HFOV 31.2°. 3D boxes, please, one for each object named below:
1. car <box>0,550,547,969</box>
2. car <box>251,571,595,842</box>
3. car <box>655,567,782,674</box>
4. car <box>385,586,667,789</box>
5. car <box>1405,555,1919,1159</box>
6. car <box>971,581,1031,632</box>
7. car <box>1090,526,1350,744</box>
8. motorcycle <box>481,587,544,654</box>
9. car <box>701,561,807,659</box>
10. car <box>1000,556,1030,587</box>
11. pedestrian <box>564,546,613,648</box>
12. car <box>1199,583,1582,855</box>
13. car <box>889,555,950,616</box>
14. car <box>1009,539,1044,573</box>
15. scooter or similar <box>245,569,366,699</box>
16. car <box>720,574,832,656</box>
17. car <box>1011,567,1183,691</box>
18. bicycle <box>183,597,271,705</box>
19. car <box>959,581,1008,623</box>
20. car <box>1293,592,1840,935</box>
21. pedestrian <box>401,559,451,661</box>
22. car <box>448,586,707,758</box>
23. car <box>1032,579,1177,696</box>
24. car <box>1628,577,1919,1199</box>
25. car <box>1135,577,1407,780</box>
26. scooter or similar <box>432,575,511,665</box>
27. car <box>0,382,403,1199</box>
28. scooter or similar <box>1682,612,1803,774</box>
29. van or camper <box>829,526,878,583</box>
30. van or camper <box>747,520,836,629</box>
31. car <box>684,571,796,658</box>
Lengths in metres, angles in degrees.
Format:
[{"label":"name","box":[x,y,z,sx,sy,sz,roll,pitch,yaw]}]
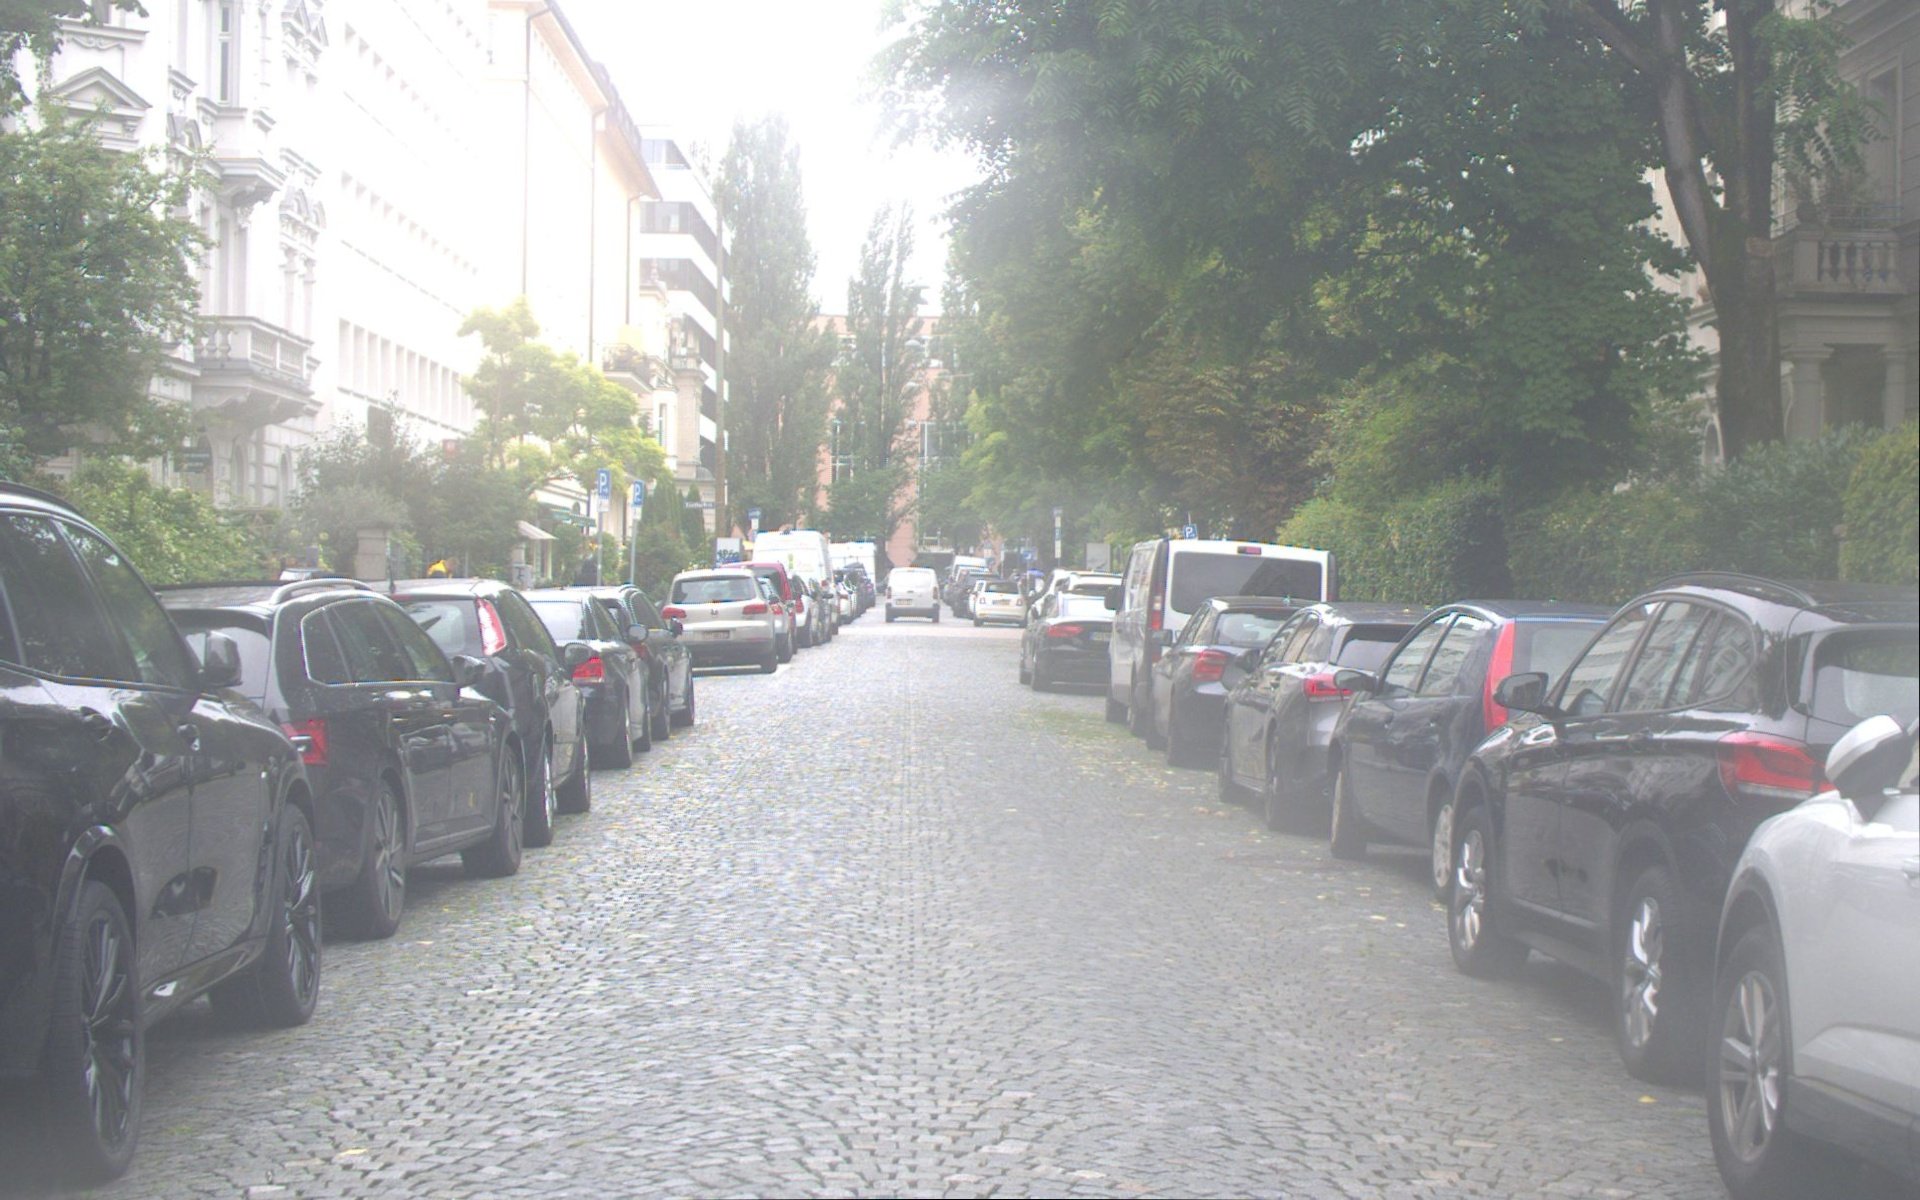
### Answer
[{"label":"car","box":[-3.168,0.586,15.442,1.978,1.556,5.017,-1,0,0]},{"label":"car","box":[-3.093,0.557,20.489,1.662,1.439,4.172,0,0,-4]},{"label":"car","box":[-3.806,0.296,54.661,1.873,1.574,4.256,-2,0,-3]},{"label":"car","box":[-3.401,0.638,27.671,1.783,1.412,4.497,-2,1,-2]},{"label":"car","box":[2.871,0.747,12.073,1.873,1.664,4.657,3,0,-1]},{"label":"car","box":[1.272,0.190,108.462,1.790,1.515,4.000,1,0,0]},{"label":"car","box":[2.525,0.310,34.654,1.873,1.922,5.165,4,0,-3]},{"label":"motorcycle","box":[-8.137,0.371,62.579,0.623,1.192,1.864,1,0,8]},{"label":"car","box":[-3.982,0.175,67.017,1.873,1.770,4.123,-2,0,-2]},{"label":"car","box":[3.764,-1.948,235.924,1.993,2.007,4.000,1,0,0]},{"label":"pedestrian","box":[-7.080,-0.061,65.483,0.792,1.911,0.759,2,0,-1]},{"label":"car","box":[2.646,0.684,22.071,1.713,1.467,4.269,4,0,-2]},{"label":"car","box":[-1.350,-0.495,116.208,1.993,2.007,4.000,1,0,0]},{"label":"car","box":[4.064,-2.688,211.354,1.993,2.007,4.000,1,0,0]},{"label":"scooter or similar","box":[-7.637,0.372,40.234,0.941,1.437,2.657,2,0,-2]},{"label":"car","box":[-3.850,0.306,72.388,1.873,1.574,4.207,3,0,3]},{"label":"car","box":[1.811,0.364,46.866,1.873,1.498,4.512,4,0,-3]},{"label":"bicycle","box":[-7.994,0.543,37.538,0.576,1.118,2.051,1,0,-2]},{"label":"car","box":[0.863,0.048,129.051,1.790,1.515,4.000,1,0,0]},{"label":"car","box":[2.967,0.745,17.685,1.693,1.435,4.062,4,0,-5]},{"label":"pedestrian","box":[-8.929,0.165,57.484,0.717,1.682,0.695,1,0,-1]},{"label":"car","box":[-3.522,0.628,32.423,1.887,1.412,4.407,-2,1,0]},{"label":"car","box":[2.145,0.527,52.095,1.817,1.574,4.208,4,0,-1]},{"label":"car","box":[2.765,0.763,7.094,1.873,1.485,4.616,3,1,1]},{"label":"car","box":[2.553,0.606,29.174,1.837,1.485,4.421,4,0,0]},{"label":"scooter or similar","box":[-8.075,0.320,56.965,0.941,1.437,2.656,1,0,-1]},{"label":"car","box":[-2.981,0.519,9.827,1.993,1.910,5.178,-2,0,-2]},{"label":"scooter or similar","box":[6.230,0.723,27.417,0.414,1.230,1.246,-2,1,-12]},{"label":"van or camper","box":[-5.324,-2.256,171.891,2.256,2.733,5.098,2,0,-1]},{"label":"van or camper","box":[-4.256,-0.634,87.338,1.993,2.643,4.000,-2,0,0]},{"label":"car","box":[-3.851,0.234,60.690,1.873,1.446,4.208,-1,0,-3]}]
